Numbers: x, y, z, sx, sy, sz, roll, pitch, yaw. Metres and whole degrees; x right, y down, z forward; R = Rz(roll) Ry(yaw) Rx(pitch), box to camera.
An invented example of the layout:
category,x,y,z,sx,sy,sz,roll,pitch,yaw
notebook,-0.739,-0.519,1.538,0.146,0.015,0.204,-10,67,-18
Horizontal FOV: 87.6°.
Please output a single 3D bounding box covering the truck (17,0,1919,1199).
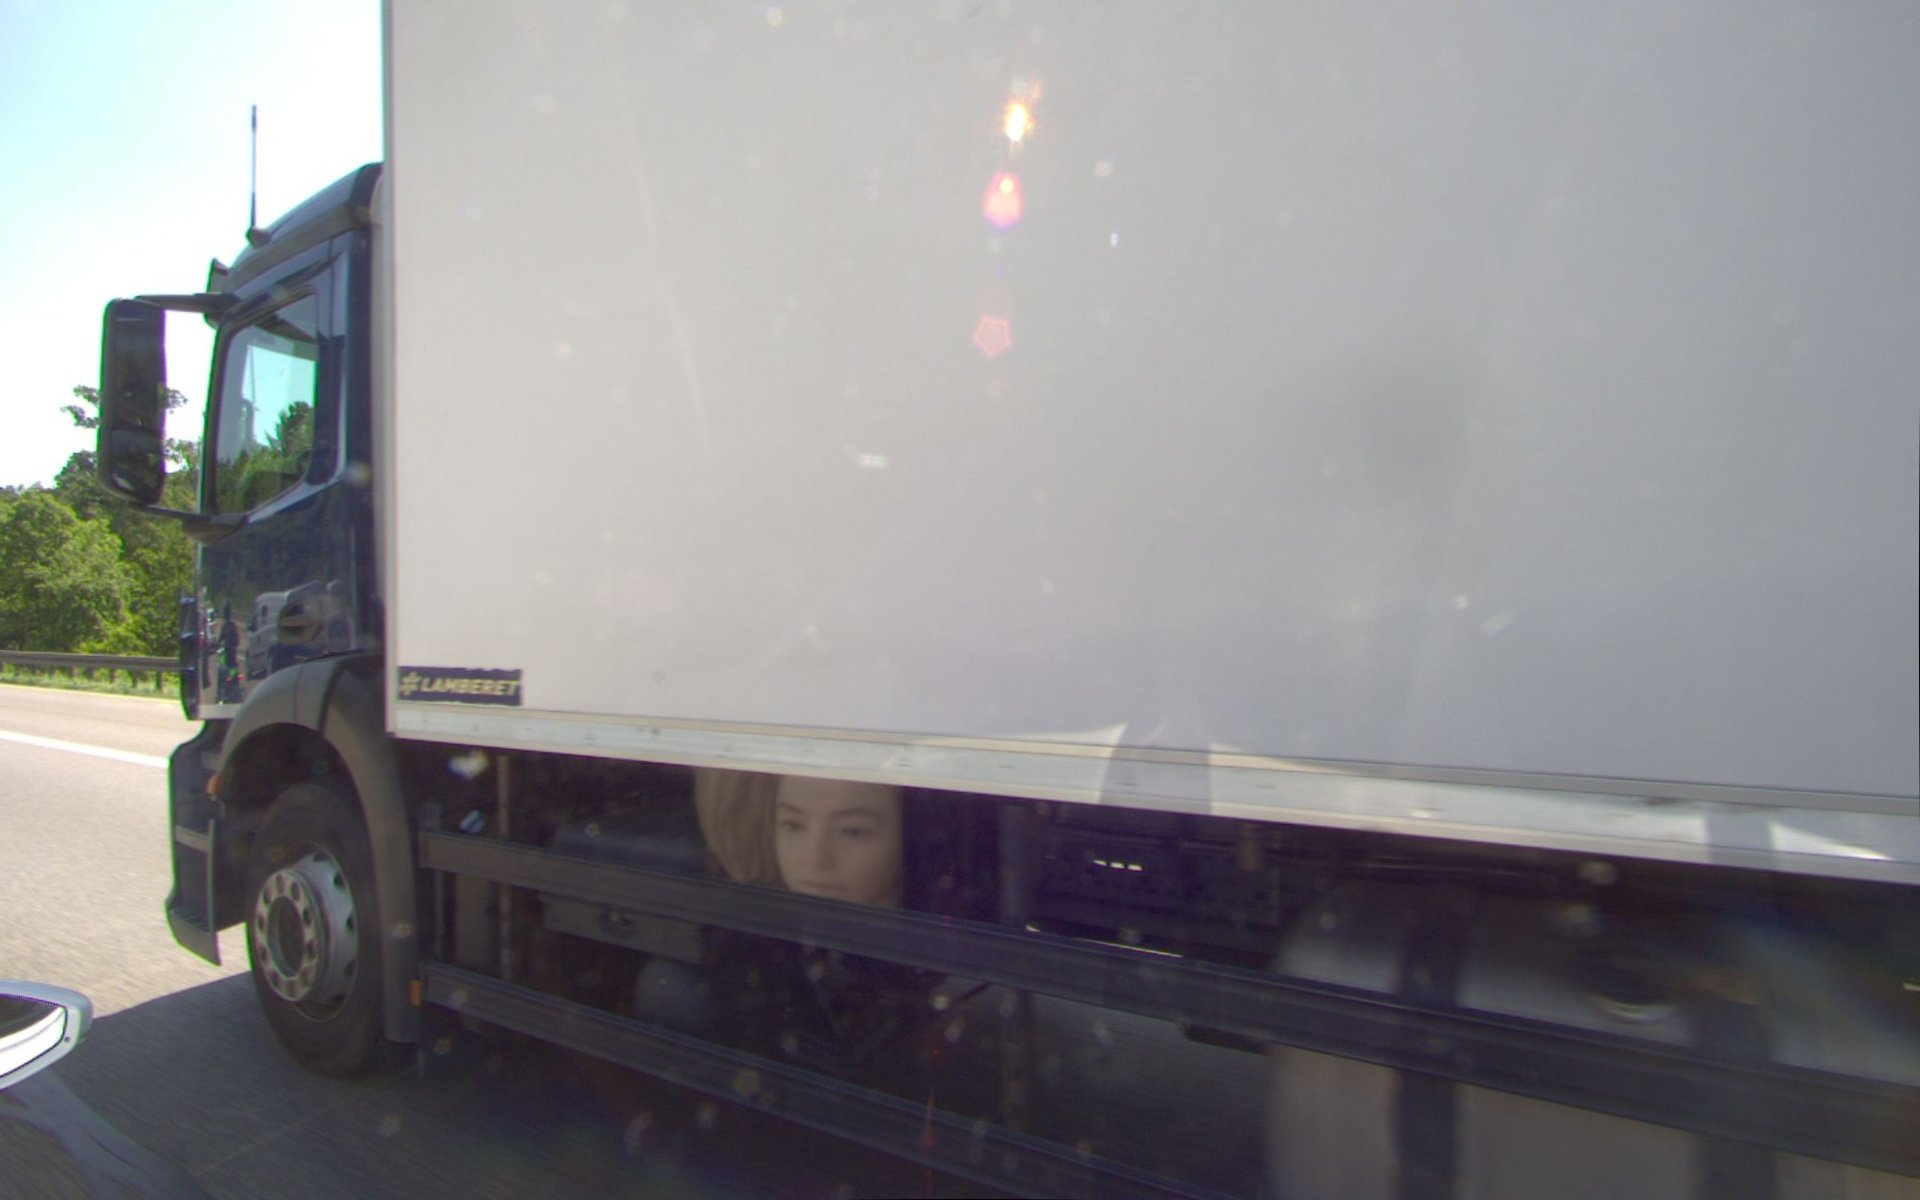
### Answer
category,x,y,z,sx,sy,sz,roll,pitch,yaw
truck,1.119,-0.517,2.600,9.640,3.929,2.681,-1,2,32
